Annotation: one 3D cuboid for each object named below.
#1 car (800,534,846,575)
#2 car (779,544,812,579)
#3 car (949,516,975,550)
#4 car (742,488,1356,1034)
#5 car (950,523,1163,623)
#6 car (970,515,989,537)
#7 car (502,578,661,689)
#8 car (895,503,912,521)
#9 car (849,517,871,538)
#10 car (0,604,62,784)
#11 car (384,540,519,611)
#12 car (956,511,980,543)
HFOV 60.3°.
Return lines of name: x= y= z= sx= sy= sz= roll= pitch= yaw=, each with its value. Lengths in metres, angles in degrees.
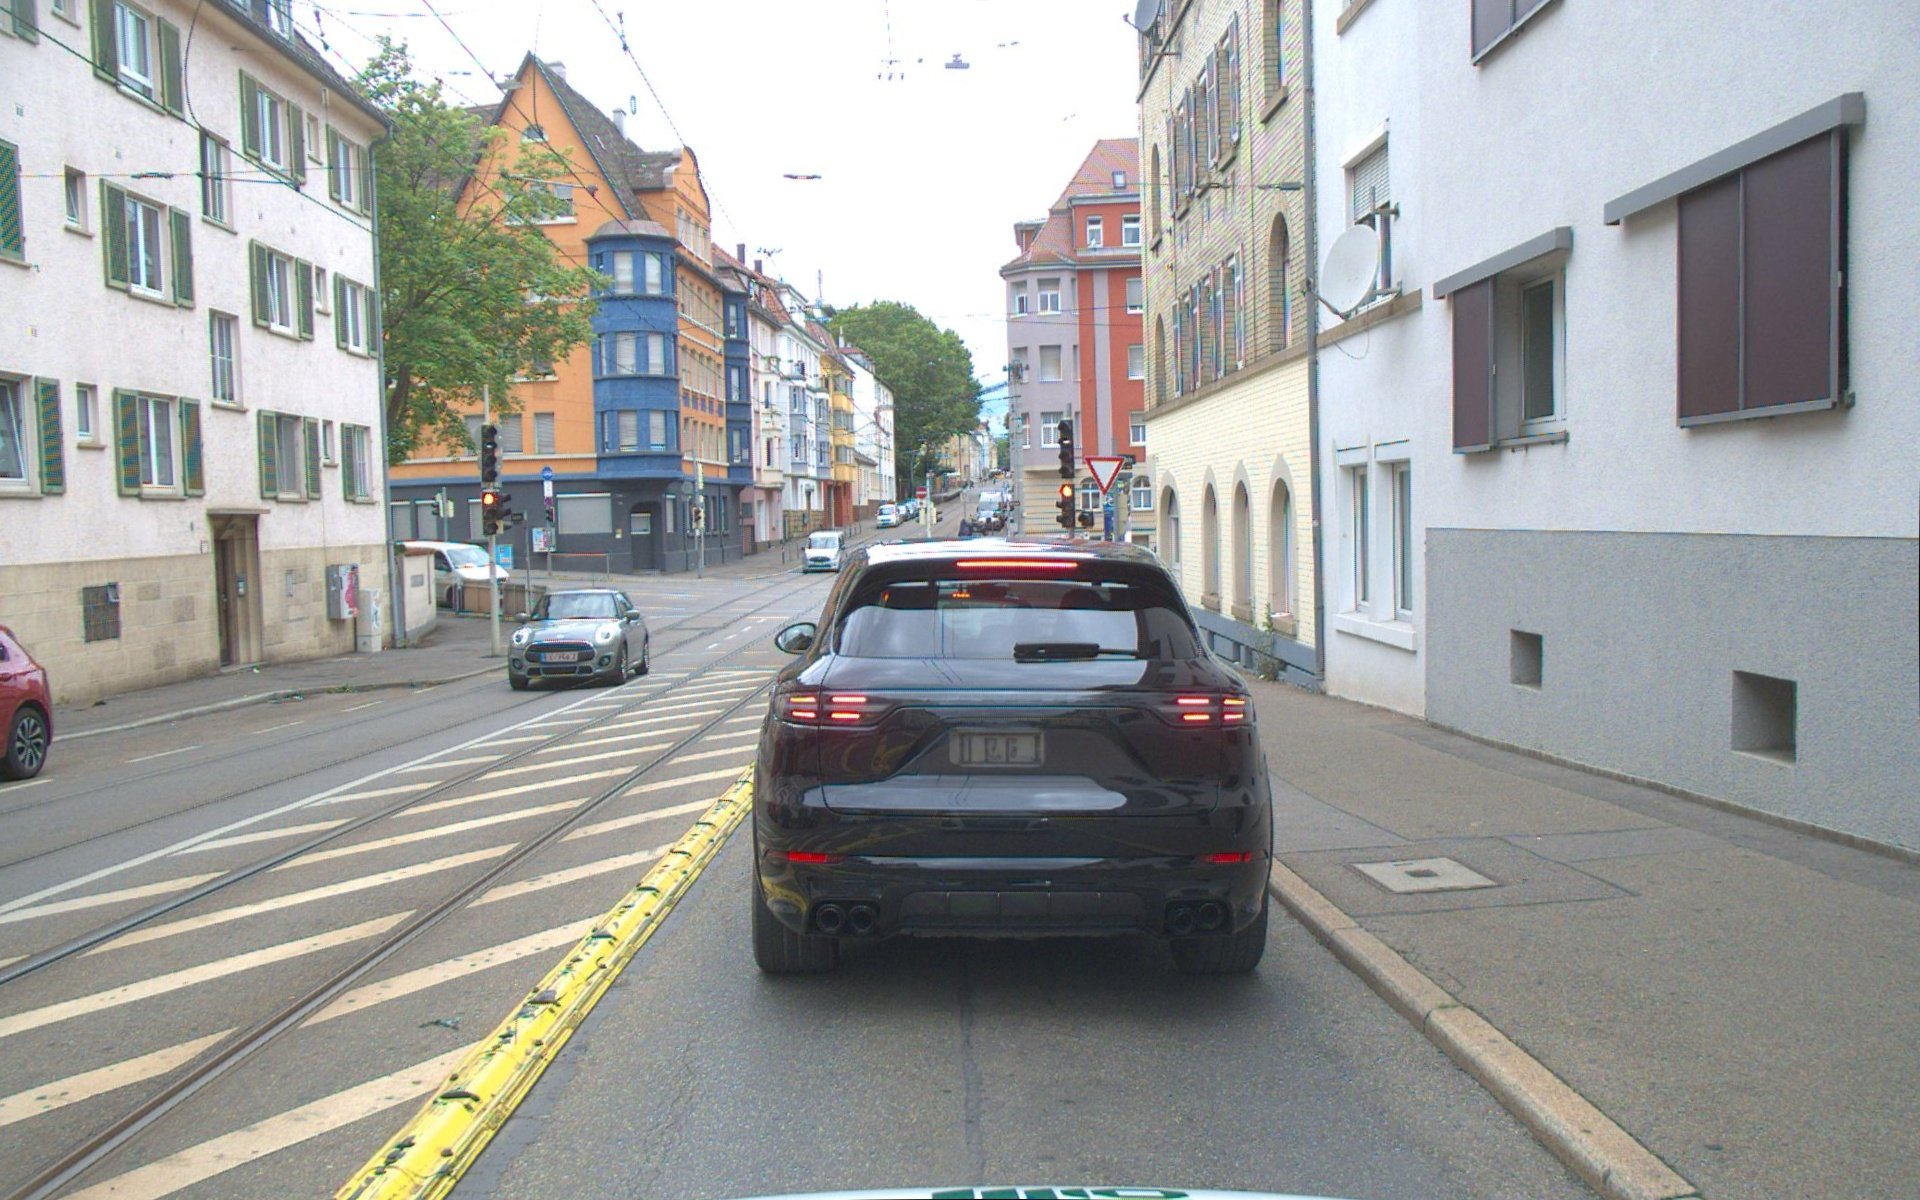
car: x=-6.368 y=-2.114 z=77.202 sx=1.715 sy=1.790 sz=4.254 roll=-2 pitch=1 yaw=0
car: x=-8.624 y=-2.022 z=86.844 sx=1.366 sy=1.752 sz=3.359 roll=-2 pitch=1 yaw=0
car: x=0.119 y=-3.781 z=93.439 sx=1.366 sy=1.752 sz=3.359 roll=-2 pitch=1 yaw=0
car: x=0.253 y=0.494 z=7.391 sx=1.953 sy=1.705 sz=3.999 roll=-2 pitch=1 yaw=-1
car: x=2.497 y=-0.640 z=43.080 sx=5.186 sy=2.280 sz=1.997 roll=-2 pitch=-5 yaw=27
car: x=1.482 y=-5.579 z=125.145 sx=1.366 sy=1.476 sz=3.359 roll=-2 pitch=1 yaw=0
car: x=-5.746 y=0.454 z=25.489 sx=1.601 sy=1.534 sz=3.540 roll=-2 pitch=1 yaw=-1
car: x=-5.129 y=-7.988 z=150.964 sx=1.366 sy=1.476 sz=3.359 roll=-2 pitch=1 yaw=0
car: x=-7.442 y=-5.400 z=123.416 sx=1.366 sy=1.476 sz=3.359 roll=-2 pitch=1 yaw=0
car: x=-8.873 y=0.837 z=12.894 sx=1.588 sy=1.516 sz=4.045 roll=-3 pitch=0 yaw=-2
car: x=-16.283 y=-0.789 z=52.943 sx=4.155 sy=2.155 sz=1.993 roll=-1 pitch=1 yaw=36
car: x=0.491 y=-4.419 z=100.253 sx=1.366 sy=1.752 sz=3.359 roll=-2 pitch=1 yaw=0
